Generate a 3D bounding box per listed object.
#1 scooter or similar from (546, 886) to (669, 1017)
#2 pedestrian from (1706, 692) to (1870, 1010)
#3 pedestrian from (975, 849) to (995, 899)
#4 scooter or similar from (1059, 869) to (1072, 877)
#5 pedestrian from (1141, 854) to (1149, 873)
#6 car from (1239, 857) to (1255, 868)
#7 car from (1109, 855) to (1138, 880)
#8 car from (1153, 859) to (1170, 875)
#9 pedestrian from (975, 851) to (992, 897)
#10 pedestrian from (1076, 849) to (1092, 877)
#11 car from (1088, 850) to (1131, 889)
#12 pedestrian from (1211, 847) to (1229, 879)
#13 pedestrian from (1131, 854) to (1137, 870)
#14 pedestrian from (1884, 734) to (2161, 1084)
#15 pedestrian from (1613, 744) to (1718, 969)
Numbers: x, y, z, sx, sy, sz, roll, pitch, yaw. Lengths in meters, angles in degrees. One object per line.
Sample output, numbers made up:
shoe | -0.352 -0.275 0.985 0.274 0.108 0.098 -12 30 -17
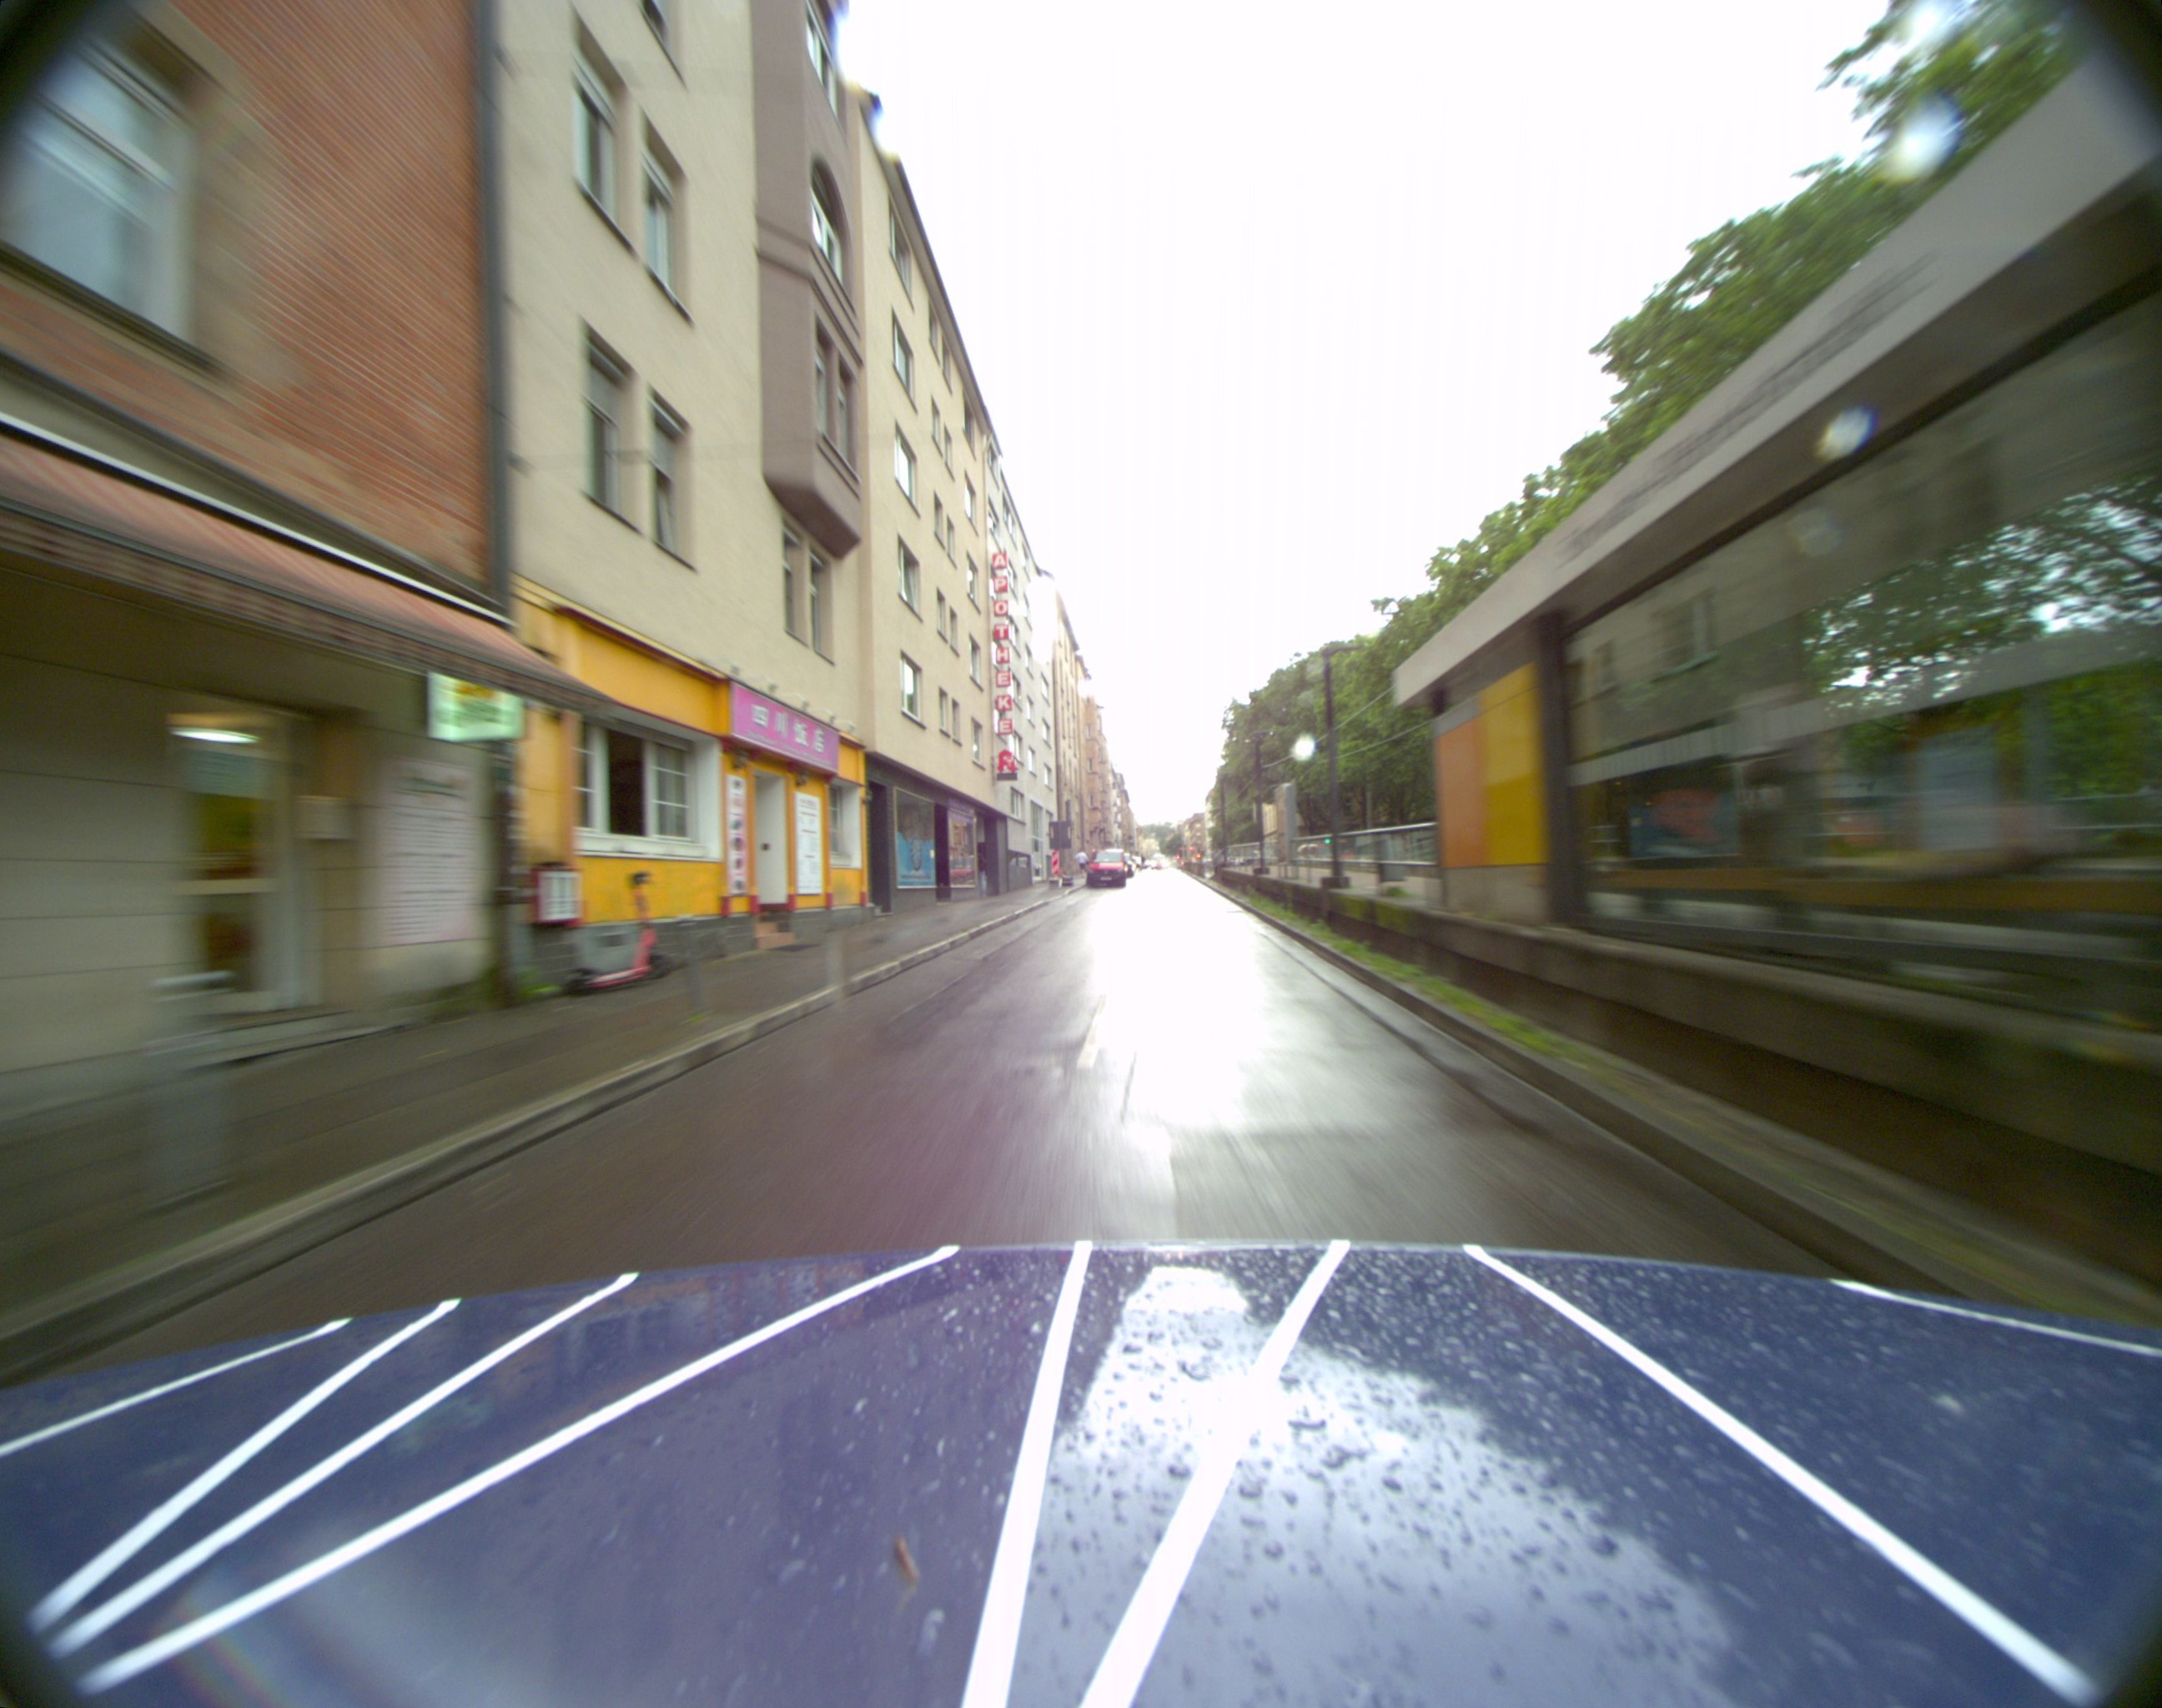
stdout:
scooter or similar | -4.892 0.965 7.922 0.258 1.214 1.196 -2 0 15
pedestrian | 3.796 -0.009 4.121 0.506 1.580 0.528 -2 0 29
pedestrian | -3.332 0.697 26.342 0.462 1.710 0.517 -2 1 14
scooter or similar | -0.991 1.242 48.678 0.858 0.503 0.258 -1 1 36
pedestrian | 5.818 0.896 68.669 0.652 1.694 0.661 -2 0 7
car | 24.302 1.265 111.299 1.891 1.468 3.809 -3 0 6
car | 3.076 0.967 54.559 1.769 1.698 4.502 -2 -1 6
car | 8.262 1.324 78.486 1.620 1.592 4.069 -1 -2 5
pedestrian | -3.493 0.722 27.288 0.483 1.635 0.331 -3 0 -22
pedestrian | 0.194 0.563 48.216 0.853 1.747 0.838 -3 0 6
car | 1.536 0.733 38.785 1.979 1.827 5.247 -2 0 4
pedestrian | 7.800 0.503 42.728 0.861 1.788 0.787 -2 0 5
pedestrian | 5.290 0.786 75.673 0.481 1.629 0.434 -2 -1 1
pedestrian | 3.677 0.198 2.917 0.614 1.219 0.507 -2 0 9
pedestrian | 4.333 0.018 5.653 0.410 1.595 0.450 -2 1 0
